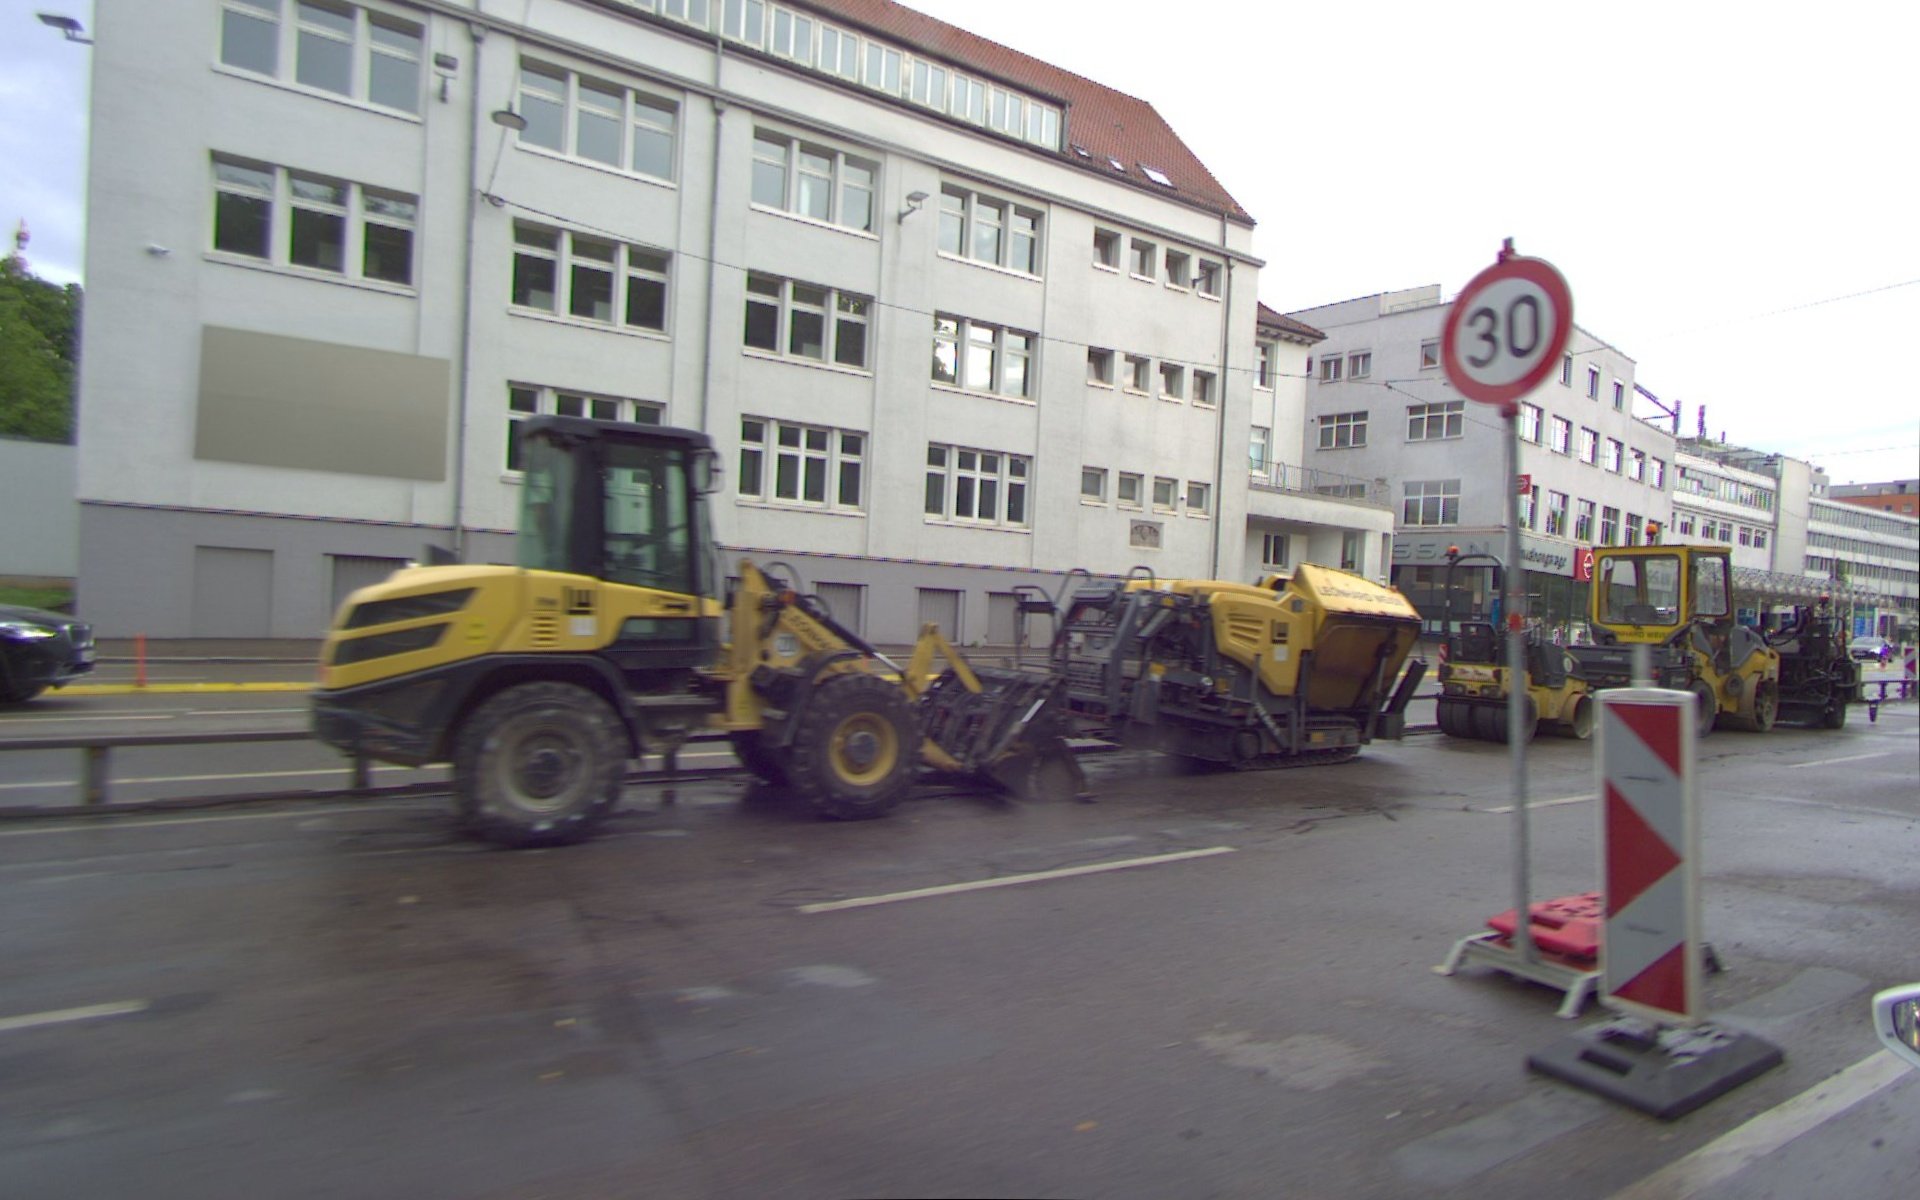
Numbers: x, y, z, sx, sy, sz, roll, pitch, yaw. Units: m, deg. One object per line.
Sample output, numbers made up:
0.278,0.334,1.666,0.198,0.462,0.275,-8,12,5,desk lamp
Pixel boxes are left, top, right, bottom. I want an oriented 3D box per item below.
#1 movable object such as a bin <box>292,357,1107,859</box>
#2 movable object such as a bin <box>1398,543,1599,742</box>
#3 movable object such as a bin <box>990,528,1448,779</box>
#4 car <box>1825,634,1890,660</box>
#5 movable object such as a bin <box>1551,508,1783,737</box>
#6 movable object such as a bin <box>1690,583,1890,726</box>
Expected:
-1.638,0.097,7.450,5.319,2.644,1.893,2,1,-30,movable object such as a bin
7.268,0.555,13.551,2.379,2.433,1.403,2,-1,-33,movable object such as a bin
2.803,0.506,10.302,4.970,2.118,1.356,2,1,-30,movable object such as a bin
52.450,2.752,58.698,4.204,1.424,1.752,3,-1,-33,car
10.588,0.353,14.983,3.682,3.048,1.458,2,-1,-31,movable object such as a bin
14.063,0.884,16.995,3.314,2.178,1.706,2,-1,-33,movable object such as a bin
